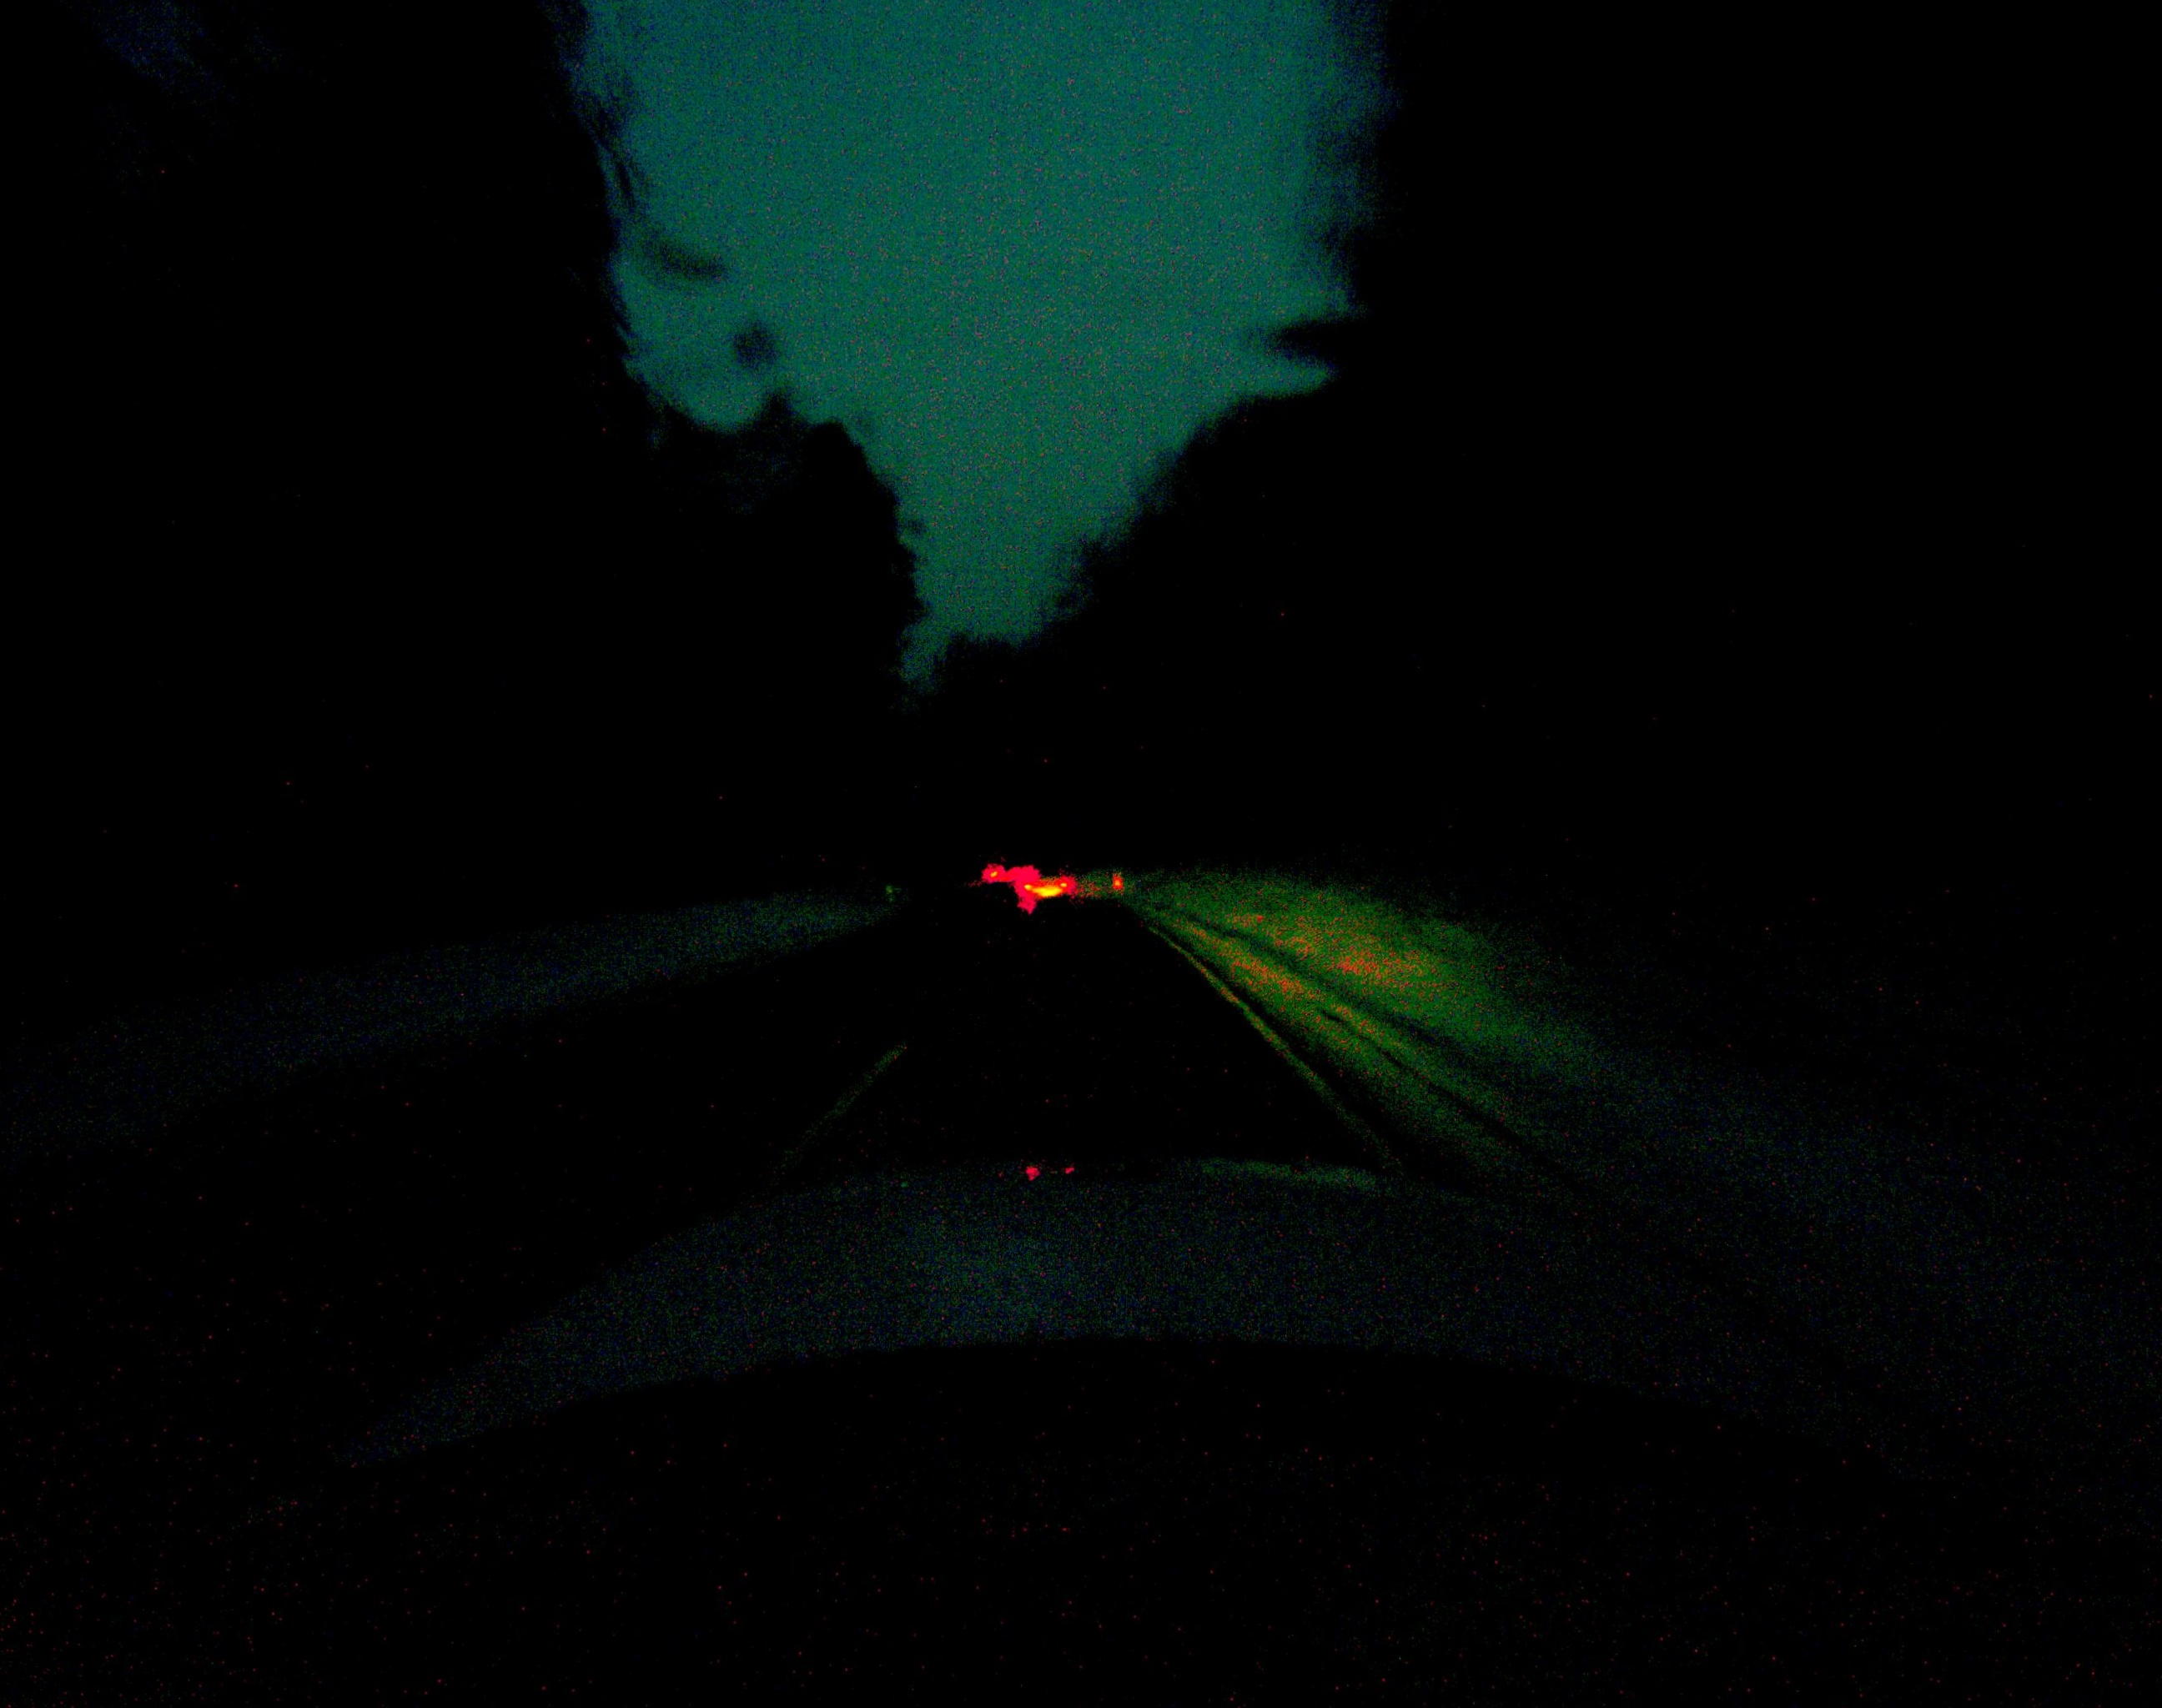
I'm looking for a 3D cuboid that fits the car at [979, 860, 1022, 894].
[{"bbox_3d":[-4.775,1.400,47.712,1.995,1.783,3.982,4,-4,-12],"label":"car"}]

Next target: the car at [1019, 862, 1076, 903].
[{"bbox_3d":[-1.304,1.075,30.062,1.942,1.381,3.993,2,-3,-4],"label":"car"}]
